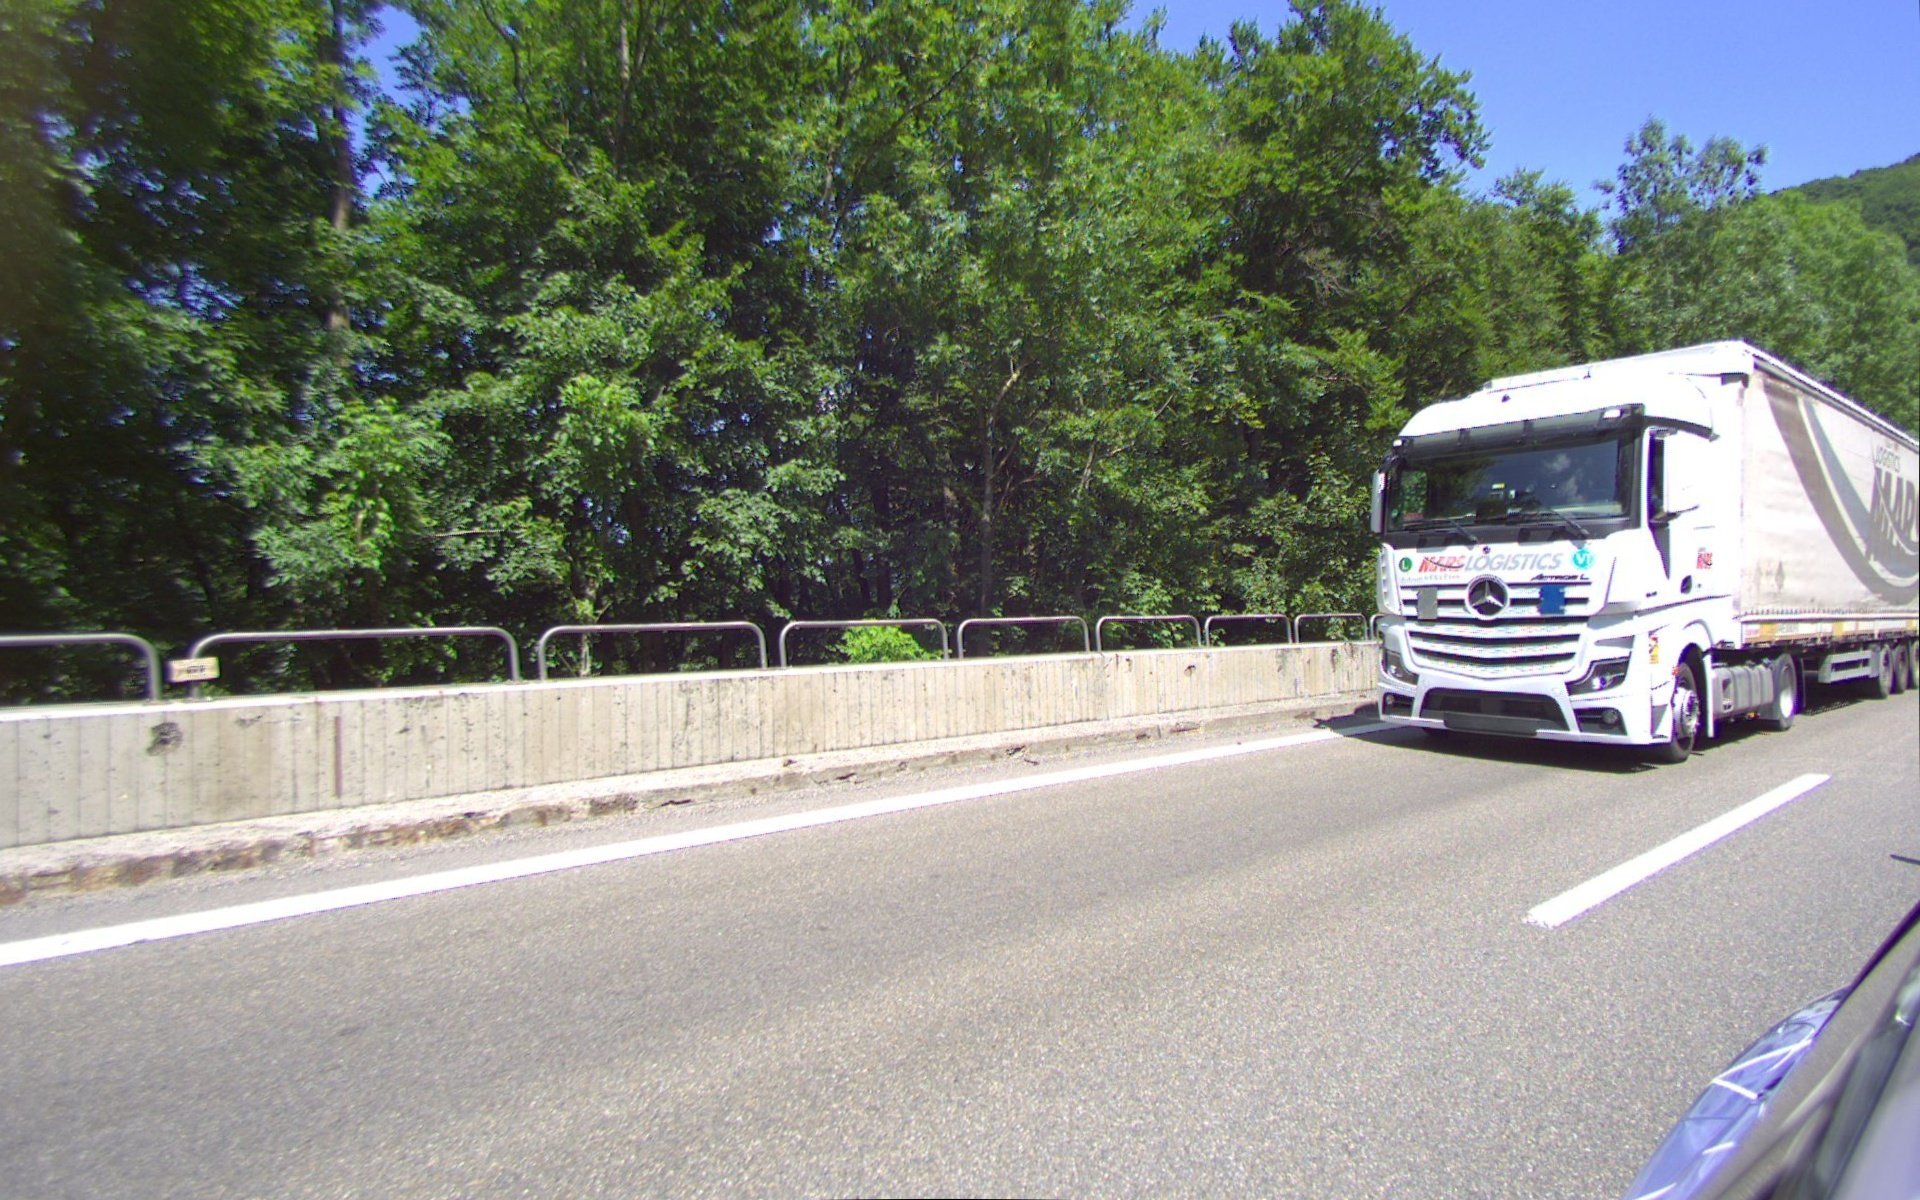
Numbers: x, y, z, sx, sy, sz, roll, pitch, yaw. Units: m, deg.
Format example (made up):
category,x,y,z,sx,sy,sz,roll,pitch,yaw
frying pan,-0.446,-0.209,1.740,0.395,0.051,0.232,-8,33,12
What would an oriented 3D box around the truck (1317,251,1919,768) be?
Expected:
category,x,y,z,sx,sy,sz,roll,pitch,yaw
truck,11.052,-0.773,14.480,16.404,4.185,2.968,0,0,-39
